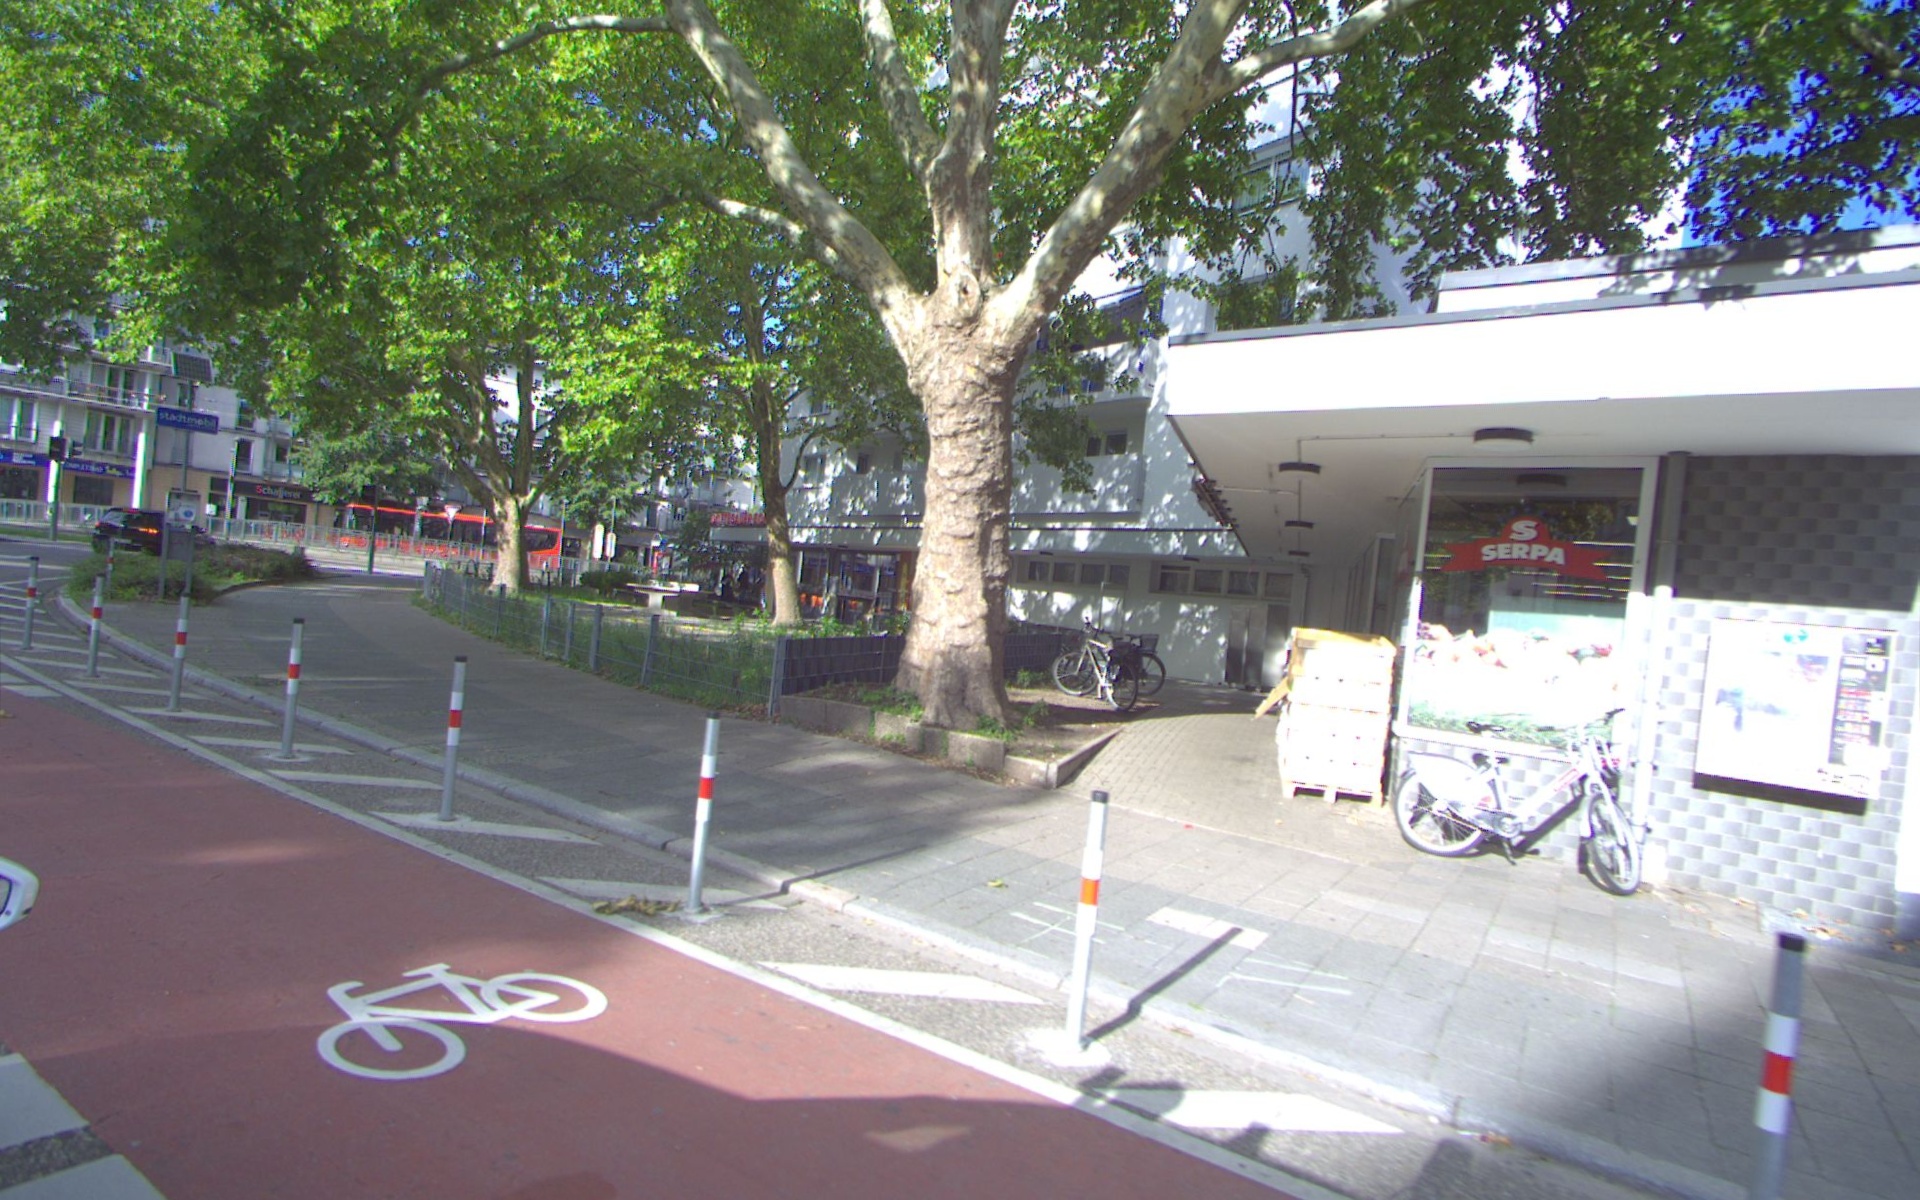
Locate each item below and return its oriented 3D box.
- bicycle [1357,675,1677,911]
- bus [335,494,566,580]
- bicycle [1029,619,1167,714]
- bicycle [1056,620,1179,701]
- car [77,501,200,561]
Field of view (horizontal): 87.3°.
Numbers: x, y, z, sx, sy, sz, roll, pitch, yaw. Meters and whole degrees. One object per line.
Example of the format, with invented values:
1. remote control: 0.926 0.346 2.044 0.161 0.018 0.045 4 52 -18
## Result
1. bicycle: 3.851 1.262 7.048 1.787 1.223 0.711 6 4 35
2. bus: -31.095 -3.766 61.950 12.198 3.593 2.997 7 1 -38
3. bicycle: 1.858 0.886 13.832 0.741 1.052 1.838 6 1 -35
4. bicycle: 2.590 0.972 16.552 1.821 1.085 0.692 6 2 17
5. car: -24.326 -2.003 29.964 1.735 1.431 3.977 7 0 -24
